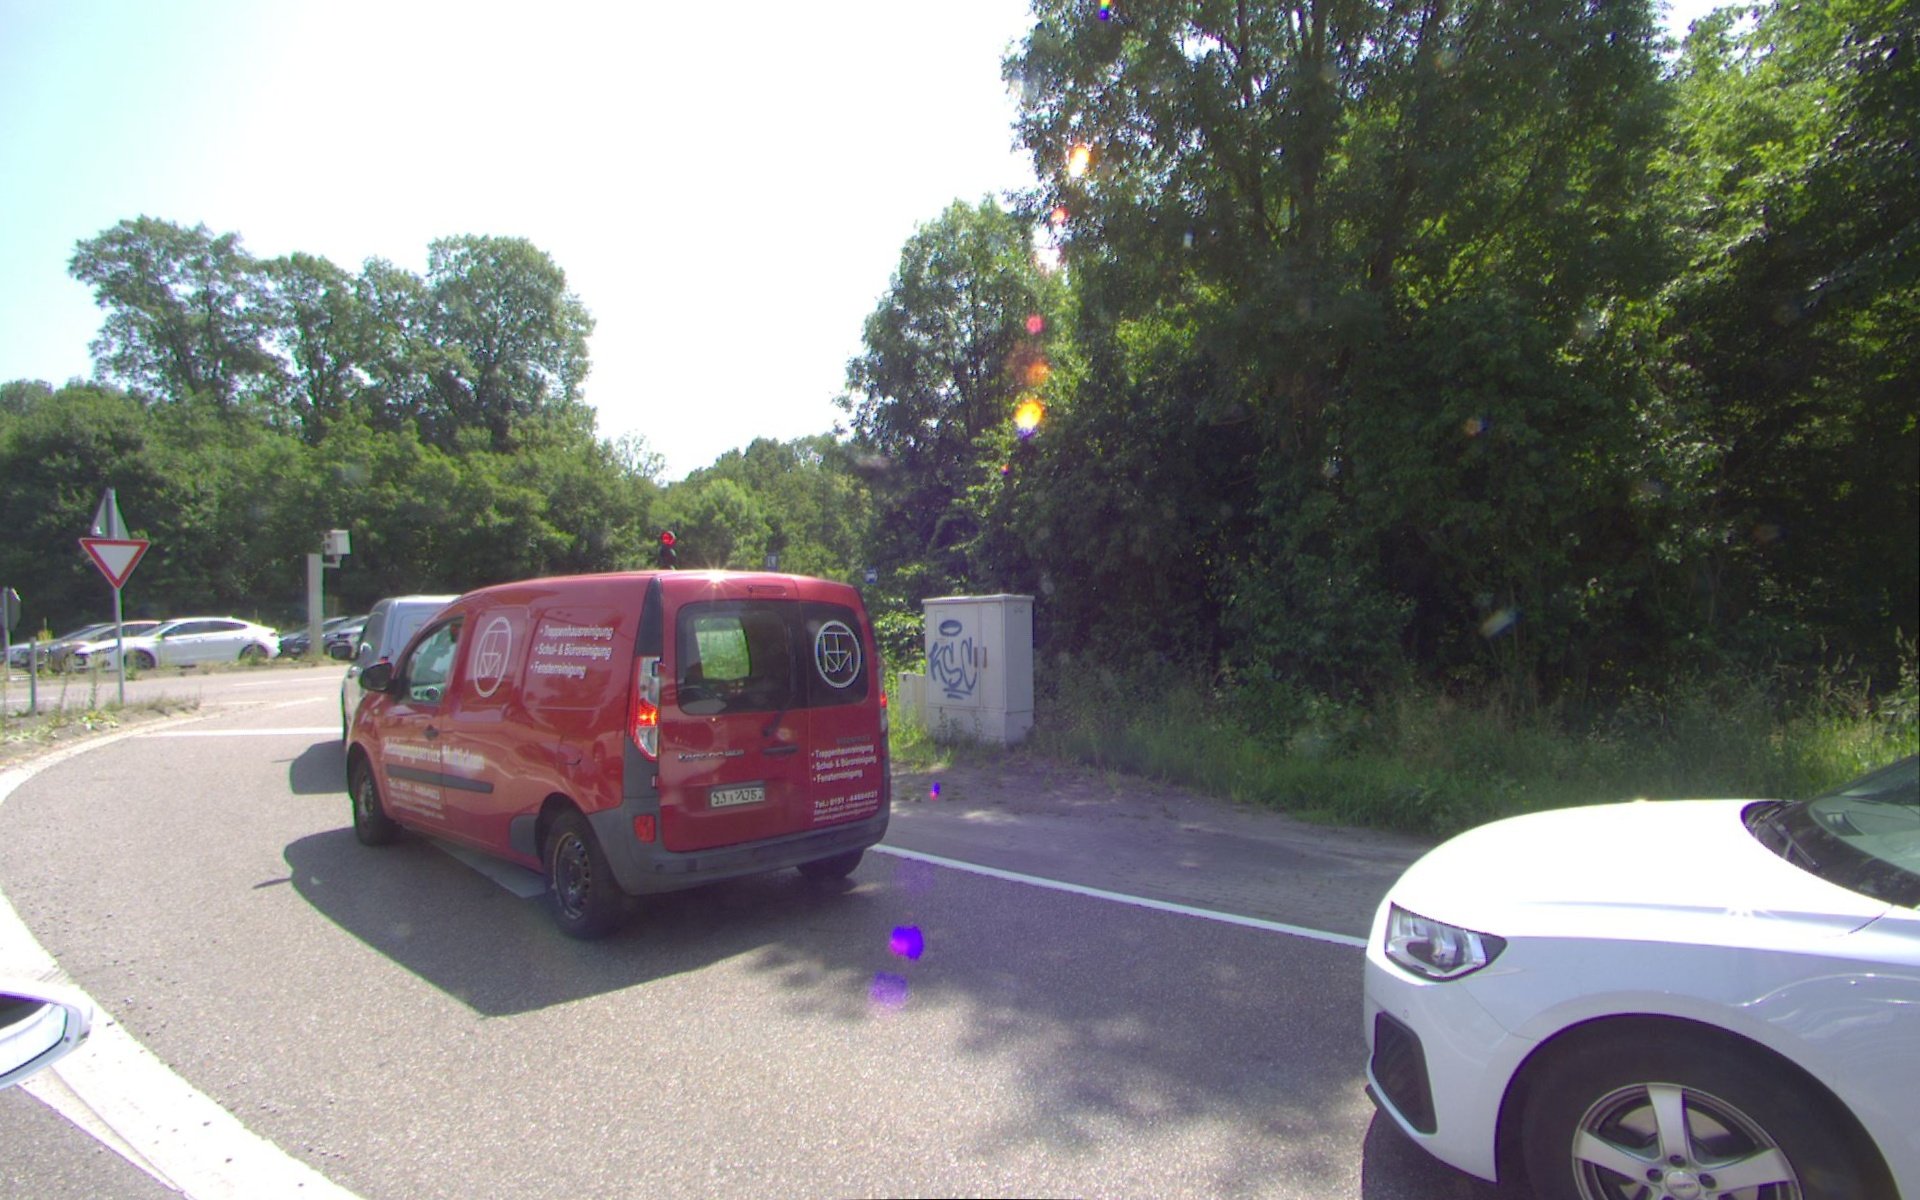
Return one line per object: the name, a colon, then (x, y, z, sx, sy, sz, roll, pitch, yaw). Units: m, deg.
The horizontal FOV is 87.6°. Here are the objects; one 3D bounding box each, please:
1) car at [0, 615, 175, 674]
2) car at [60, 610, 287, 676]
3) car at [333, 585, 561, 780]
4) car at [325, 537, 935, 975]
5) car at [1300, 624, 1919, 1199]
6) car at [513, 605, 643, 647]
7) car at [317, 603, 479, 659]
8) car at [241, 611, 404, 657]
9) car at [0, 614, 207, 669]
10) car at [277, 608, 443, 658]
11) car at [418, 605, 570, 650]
car: (-24.932, 1.186, 28.131, 1.965, 1.466, 4.086, -1, 0, 29)
car: (-21.122, 1.093, 27.095, 1.970, 1.555, 4.413, -1, 0, 30)
car: (-5.982, 0.780, 11.419, 1.740, 1.797, 4.084, -1, 0, -35)
car: (-2.368, 0.707, 6.402, 4.447, 1.846, 1.782, -1, -2, 43)
car: (2.943, 0.798, 2.080, 3.946, 1.453, 1.686, -1, -3, 35)
car: (-14.515, 0.969, 38.283, 1.946, 1.433, 4.321, -1, 0, 32)
car: (-18.150, 0.951, 32.532, 1.971, 1.681, 4.164, -1, 0, 31)
car: (-23.337, 1.201, 36.853, 2.082, 1.518, 4.608, -1, 0, 31)
car: (-27.011, 1.256, 31.525, 1.992, 1.518, 4.922, -2, -1, 32)
car: (-20.523, 1.096, 34.446, 2.091, 1.555, 4.411, -2, 0, 31)
car: (-18.270, 1.042, 39.524, 2.107, 1.554, 5.118, -2, 0, 31)
